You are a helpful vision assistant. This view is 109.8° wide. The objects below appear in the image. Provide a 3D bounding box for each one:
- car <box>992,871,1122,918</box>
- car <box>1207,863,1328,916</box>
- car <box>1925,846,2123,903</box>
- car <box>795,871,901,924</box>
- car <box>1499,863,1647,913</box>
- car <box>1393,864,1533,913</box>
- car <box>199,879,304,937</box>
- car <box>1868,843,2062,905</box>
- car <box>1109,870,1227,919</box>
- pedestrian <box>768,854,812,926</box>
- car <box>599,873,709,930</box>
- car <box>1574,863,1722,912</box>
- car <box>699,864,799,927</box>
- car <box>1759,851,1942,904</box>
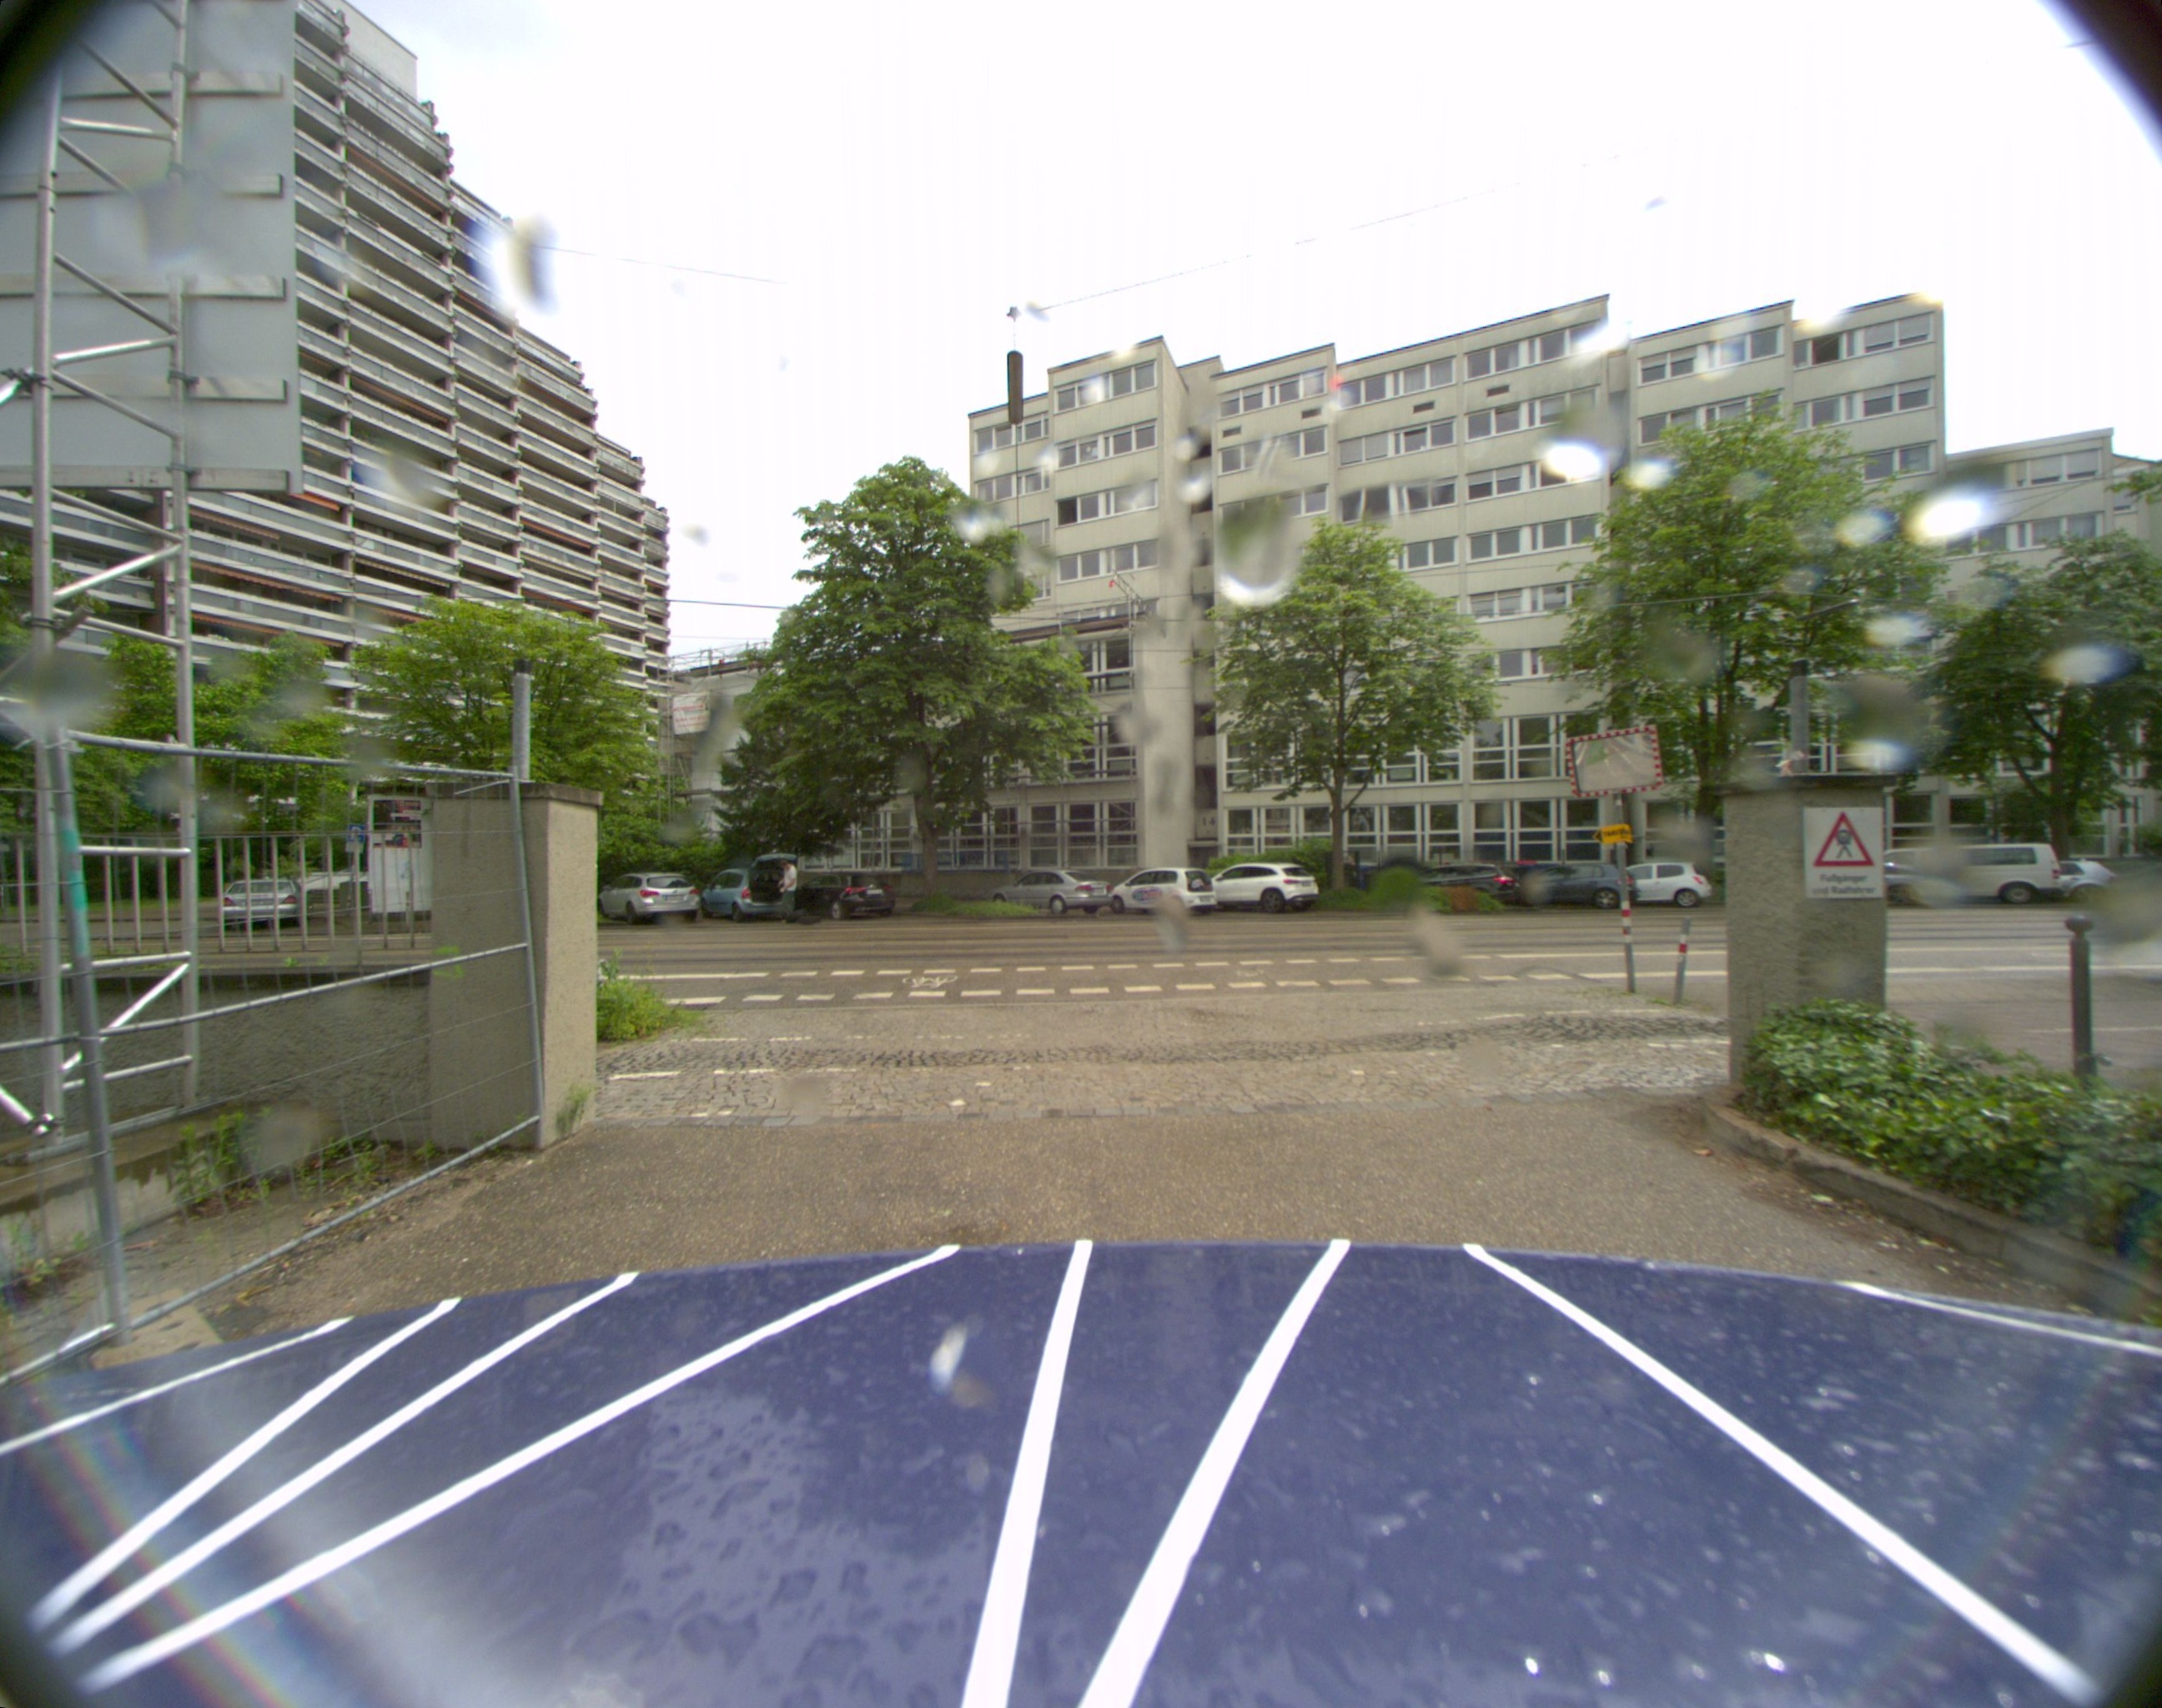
[{"bbox_3d":[-0.823,1.266,24.437,3.989,1.406,1.727,-2,-2,39],"label":"car"},{"bbox_3d":[5.961,1.116,24.464,3.380,1.593,1.711,-2,-2,44],"label":"car"},{"bbox_3d":[32.025,0.698,26.029,4.073,1.795,1.794,-1,-1,44],"label":"car"},{"bbox_3d":[-7.214,1.272,23.368,1.626,1.419,3.638,-1,0,-44],"label":"car"},{"bbox_3d":[15.984,1.069,24.770,3.770,1.497,1.794,-1,-2,44],"label":"car"},{"bbox_3d":[12.522,1.080,25.030,3.770,1.497,1.794,-1,-2,44],"label":"car"},{"bbox_3d":[-24.775,1.539,22.835,1.863,1.477,3.989,-3,1,-44],"label":"car"},{"bbox_3d":[29.369,0.652,25.469,4.073,1.920,1.794,-1,-1,44],"label":"car"},{"bbox_3d":[2.718,1.232,24.022,3.380,1.436,1.658,-2,-2,44],"label":"car"},{"bbox_3d":[-8.389,1.024,21.950,0.859,2.002,0.931,-1,0,1],"label":"pedestrian"},{"bbox_3d":[-13.003,1.362,23.053,1.863,1.477,3.989,-3,1,-44],"label":"car"},{"bbox_3d":[18.953,1.074,25.499,3.770,1.497,1.794,-1,-2,44],"label":"car"},{"bbox_3d":[-10.260,1.197,23.383,1.626,1.736,3.638,-1,0,-44],"label":"car"},{"bbox_3d":[25.827,0.774,25.722,4.073,1.640,1.794,0,-1,34],"label":"car"}]
